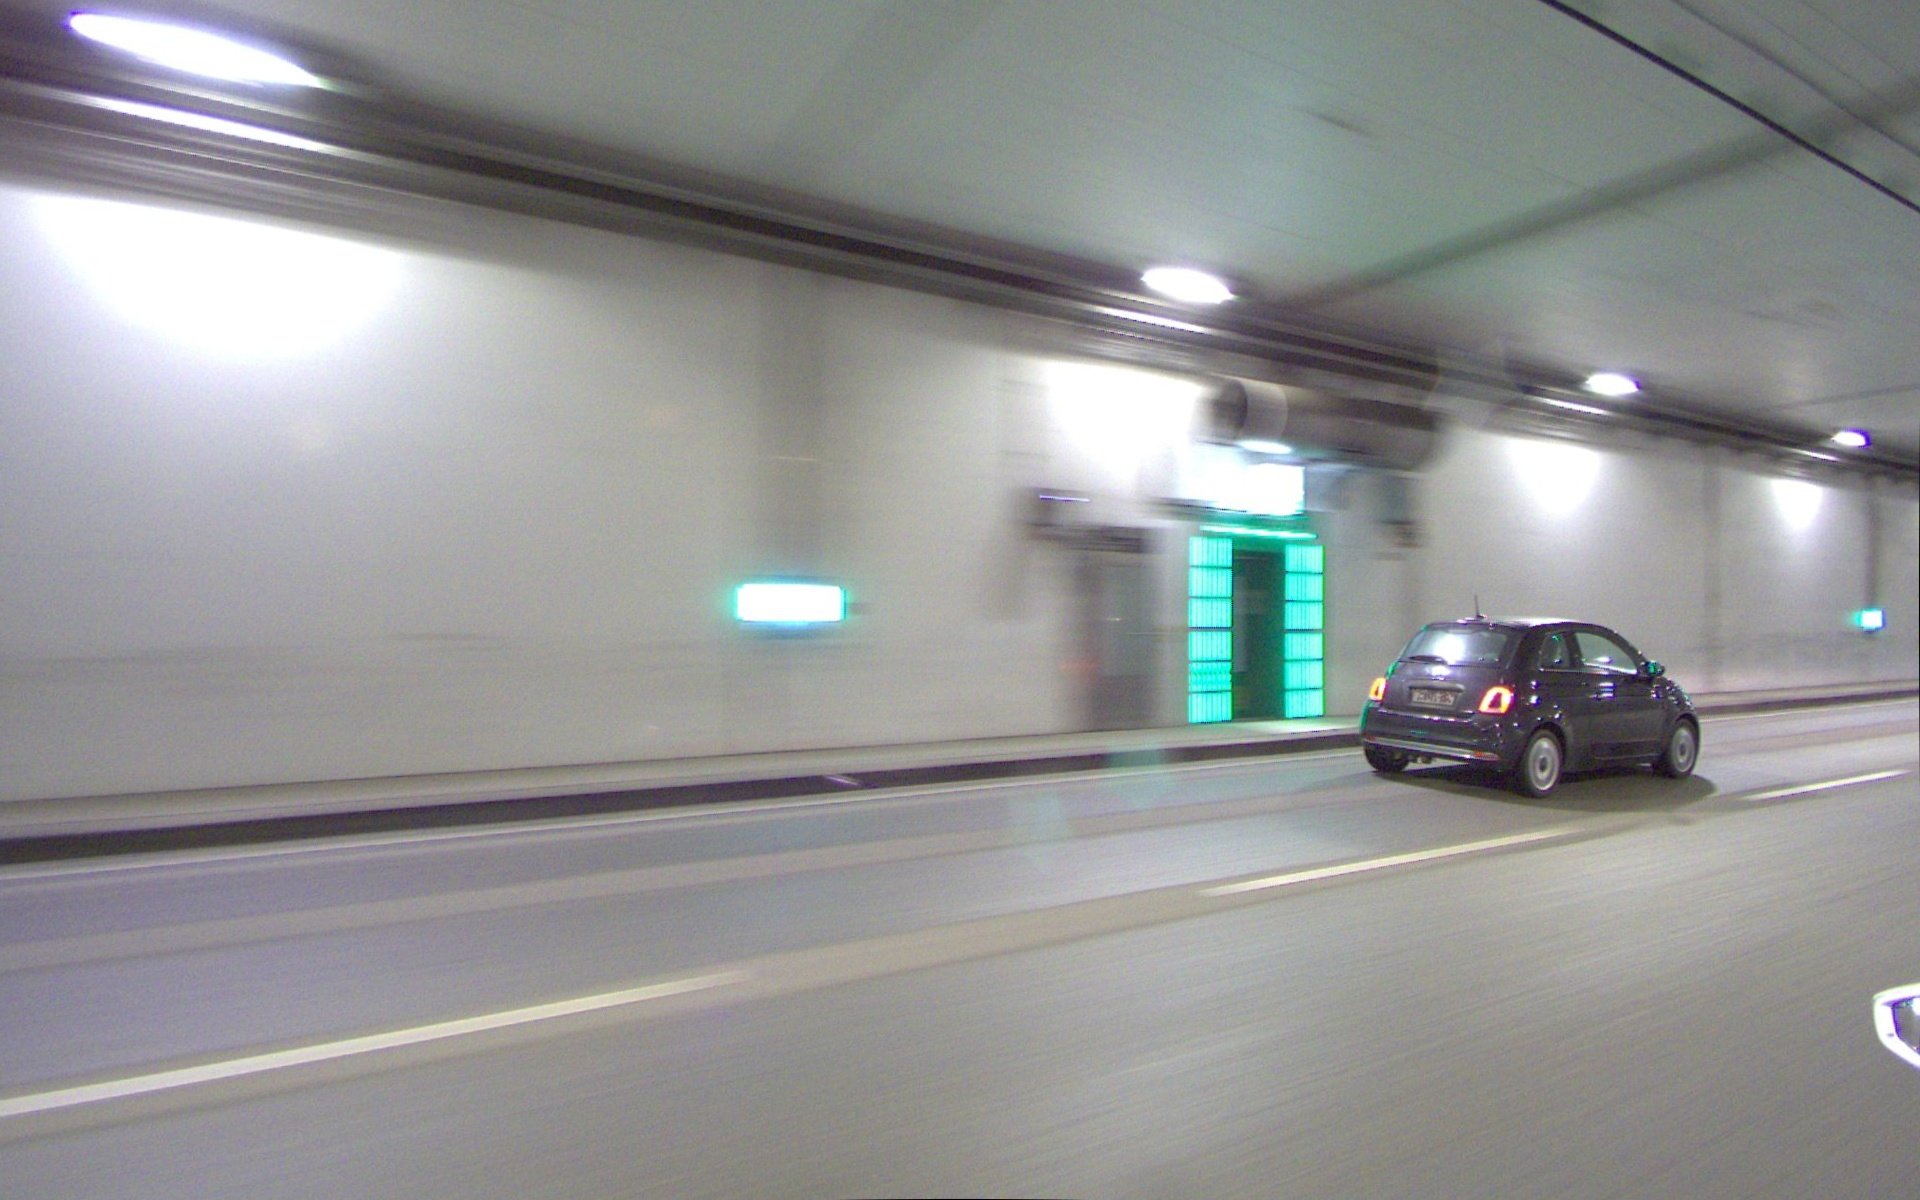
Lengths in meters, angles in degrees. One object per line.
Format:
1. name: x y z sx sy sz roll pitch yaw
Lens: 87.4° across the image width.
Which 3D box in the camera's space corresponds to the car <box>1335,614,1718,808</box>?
1. car: 5.345 0.884 9.401 3.531 1.474 1.604 0 0 -31
